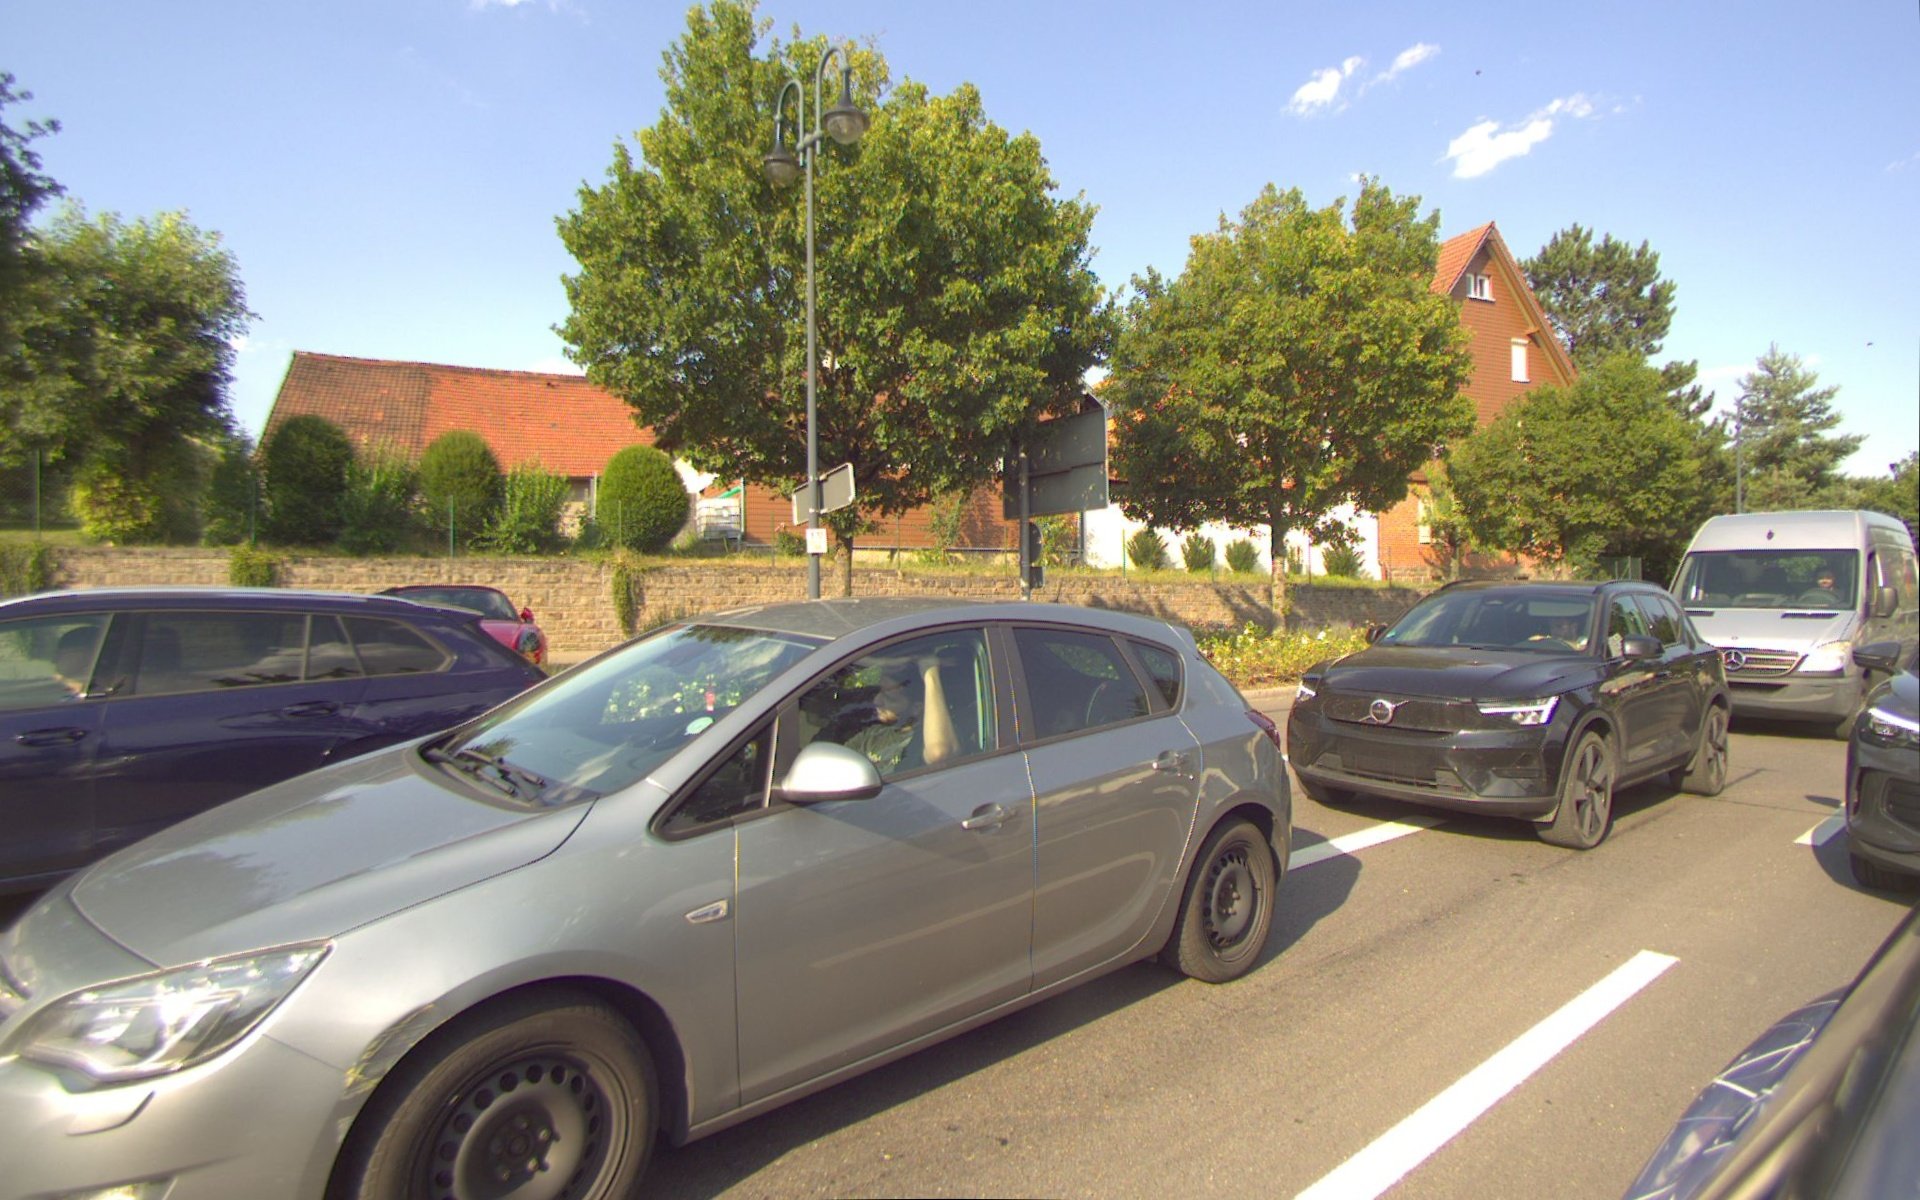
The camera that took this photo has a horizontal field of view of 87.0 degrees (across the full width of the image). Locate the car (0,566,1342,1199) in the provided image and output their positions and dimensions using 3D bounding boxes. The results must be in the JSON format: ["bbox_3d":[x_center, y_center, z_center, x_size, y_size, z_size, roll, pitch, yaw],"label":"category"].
[{"bbox_3d":[-0.558,0.662,3.524,4.244,1.471,1.765,0,2,-42],"label":"car"}]

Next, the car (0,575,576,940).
[{"bbox_3d":[-4.321,0.627,4.936,4.244,1.471,1.765,0,2,-42],"label":"car"}]

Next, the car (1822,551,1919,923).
[{"bbox_3d":[6.214,0.614,5.340,4.242,1.629,1.844,0,2,-40],"label":"car"}]

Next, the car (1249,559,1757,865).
[{"bbox_3d":[4.160,0.563,7.454,4.242,1.629,1.844,0,2,-40],"label":"car"}]

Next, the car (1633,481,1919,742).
[{"bbox_3d":[10.660,0.079,12.762,5.938,2.601,1.992,0,1,-40],"label":"car"}]

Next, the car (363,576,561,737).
[{"bbox_3d":[-5.897,0.521,11.715,1.743,1.510,4.156,0,0,-31],"label":"car"}]

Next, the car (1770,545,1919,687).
[{"bbox_3d":[15.060,0.202,16.675,4.242,2.055,1.844,0,1,-40],"label":"car"}]
